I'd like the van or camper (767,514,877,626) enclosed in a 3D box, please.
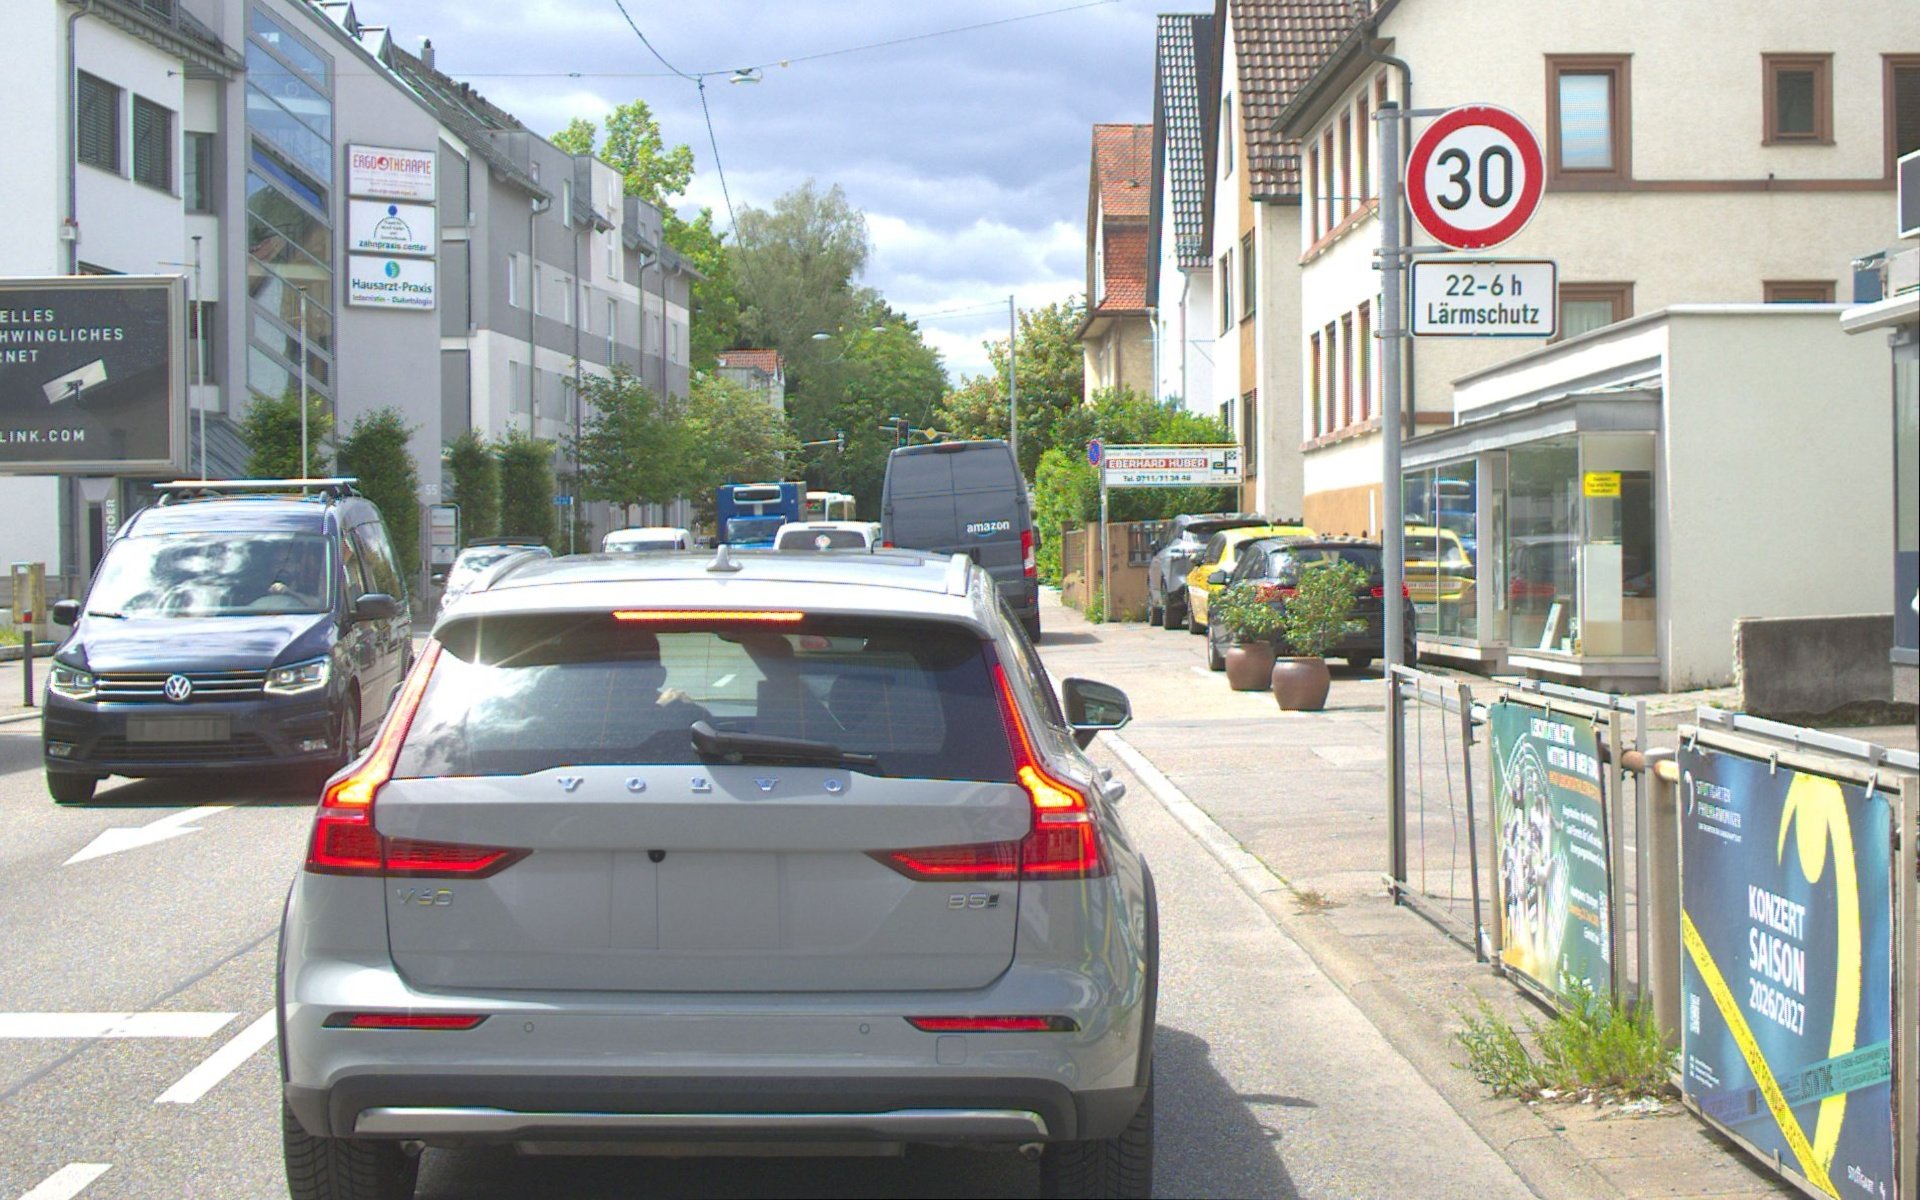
[{"bbox_3d":[-2.355,-0.482,59.215,1.819,1.828,4.000,0,-1,-1],"label":"van or camper"}]

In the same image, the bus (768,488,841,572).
[{"bbox_3d":[-5.554,-2.516,123.780,2.276,2.891,7.079,-1,1,0],"label":"bus"}]

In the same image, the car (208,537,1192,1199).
[{"bbox_3d":[-0.539,0.598,8.443,1.835,1.481,4.000,0,1,-2],"label":"car"}]

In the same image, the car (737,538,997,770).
[{"bbox_3d":[-0.641,0.325,23.785,1.650,1.477,3.607,0,1,-2],"label":"car"}]

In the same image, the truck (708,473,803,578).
[{"bbox_3d":[-5.840,-2.137,99.056,2.276,2.876,7.079,-1,1,0],"label":"truck"}]

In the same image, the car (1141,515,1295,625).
[{"bbox_3d":[3.638,-0.399,49.090,1.882,1.495,3.971,0,0,0],"label":"car"}]

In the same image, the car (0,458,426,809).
[{"bbox_3d":[-4.551,0.161,21.327,1.838,1.911,4.532,-1,1,-1],"label":"car"}]

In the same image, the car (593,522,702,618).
[{"bbox_3d":[-6.112,-0.562,67.637,1.797,1.810,4.000,0,0,0],"label":"car"}]

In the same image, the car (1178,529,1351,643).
[{"bbox_3d":[3.919,-0.165,44.759,1.882,1.411,3.971,0,0,0],"label":"car"}]

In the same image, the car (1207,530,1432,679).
[{"bbox_3d":[3.674,0.057,35.696,1.710,1.459,4.000,0,0,-3],"label":"car"}]

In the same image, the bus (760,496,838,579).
[{"bbox_3d":[-5.361,-2.116,115.605,2.276,2.659,7.430,-1,1,0],"label":"bus"}]

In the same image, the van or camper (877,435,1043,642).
[{"bbox_3d":[-0.010,-0.853,47.306,2.123,2.677,4.781,-1,1,0],"label":"van or camper"}]

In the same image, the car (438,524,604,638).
[{"bbox_3d":[-5.776,-0.283,45.590,1.762,1.421,4.000,-1,1,-1],"label":"car"}]
